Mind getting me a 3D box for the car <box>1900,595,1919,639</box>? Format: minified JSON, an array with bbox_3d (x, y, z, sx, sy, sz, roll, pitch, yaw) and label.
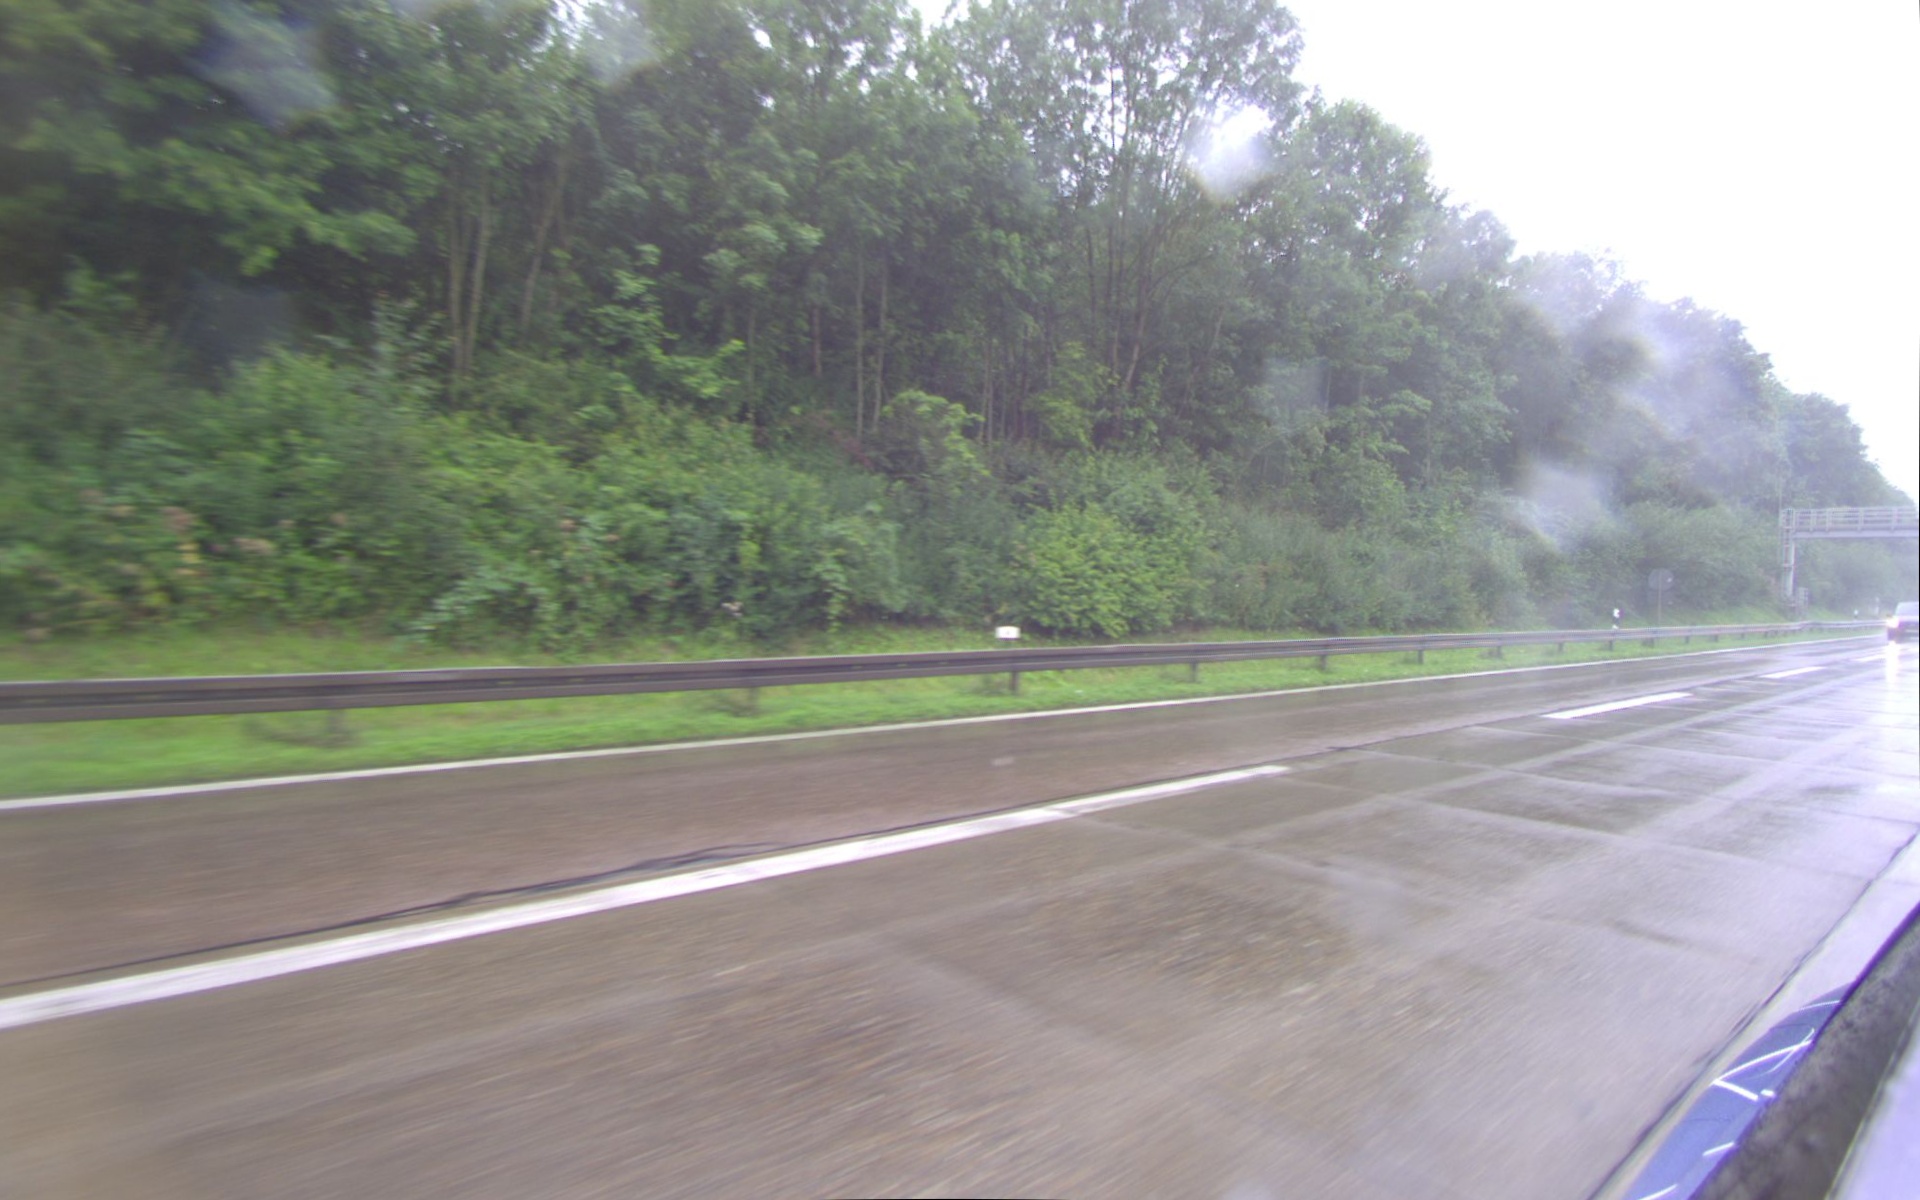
[{"bbox_3d":[47.007,0.811,48.776,3.926,2.039,1.859,0,0,-38],"label":"car"}]
